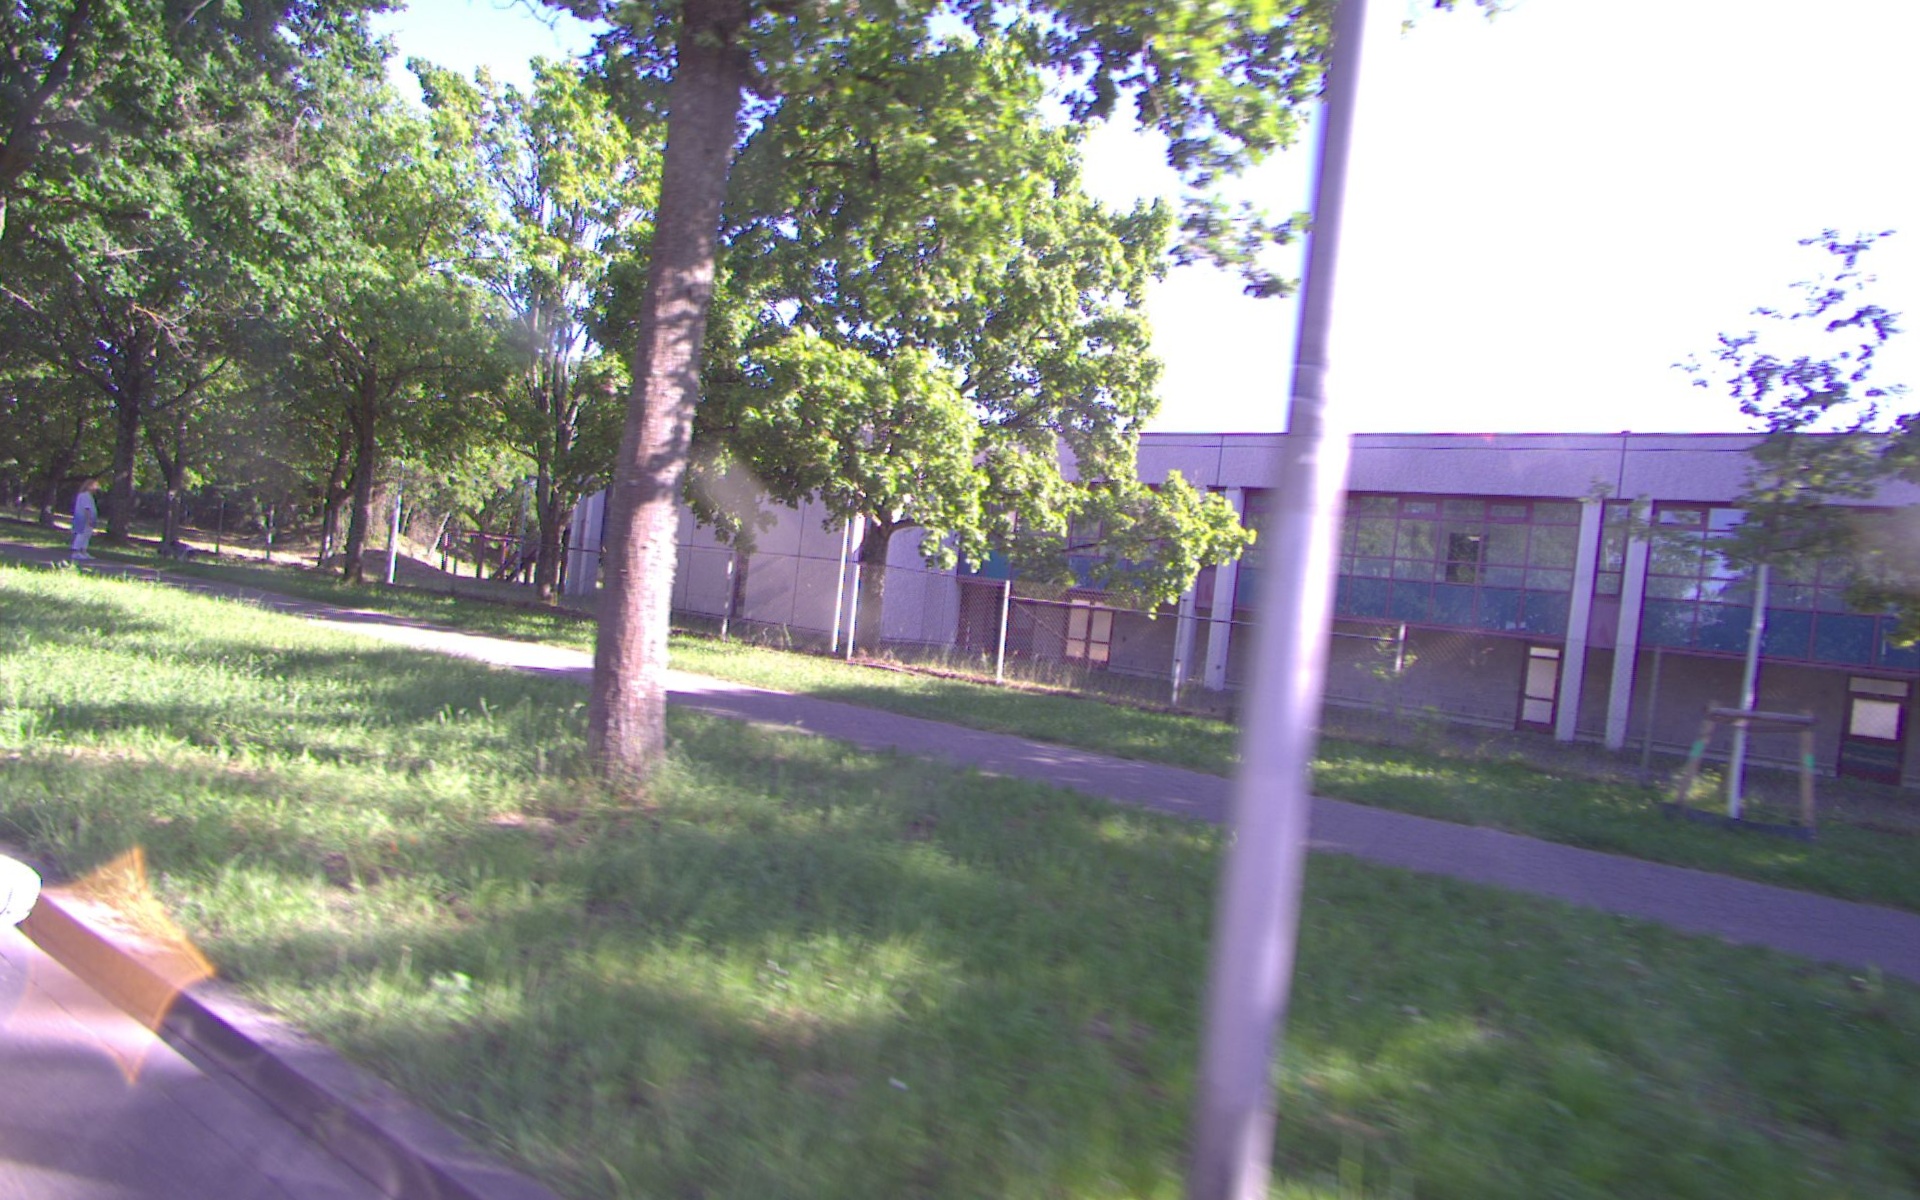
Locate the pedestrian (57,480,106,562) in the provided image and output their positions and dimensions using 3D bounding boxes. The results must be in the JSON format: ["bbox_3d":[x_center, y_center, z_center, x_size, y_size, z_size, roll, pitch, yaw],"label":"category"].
[{"bbox_3d":[-18.771,-1.690,21.503,0.713,1.653,0.602,3,4,-42],"label":"pedestrian"}]
